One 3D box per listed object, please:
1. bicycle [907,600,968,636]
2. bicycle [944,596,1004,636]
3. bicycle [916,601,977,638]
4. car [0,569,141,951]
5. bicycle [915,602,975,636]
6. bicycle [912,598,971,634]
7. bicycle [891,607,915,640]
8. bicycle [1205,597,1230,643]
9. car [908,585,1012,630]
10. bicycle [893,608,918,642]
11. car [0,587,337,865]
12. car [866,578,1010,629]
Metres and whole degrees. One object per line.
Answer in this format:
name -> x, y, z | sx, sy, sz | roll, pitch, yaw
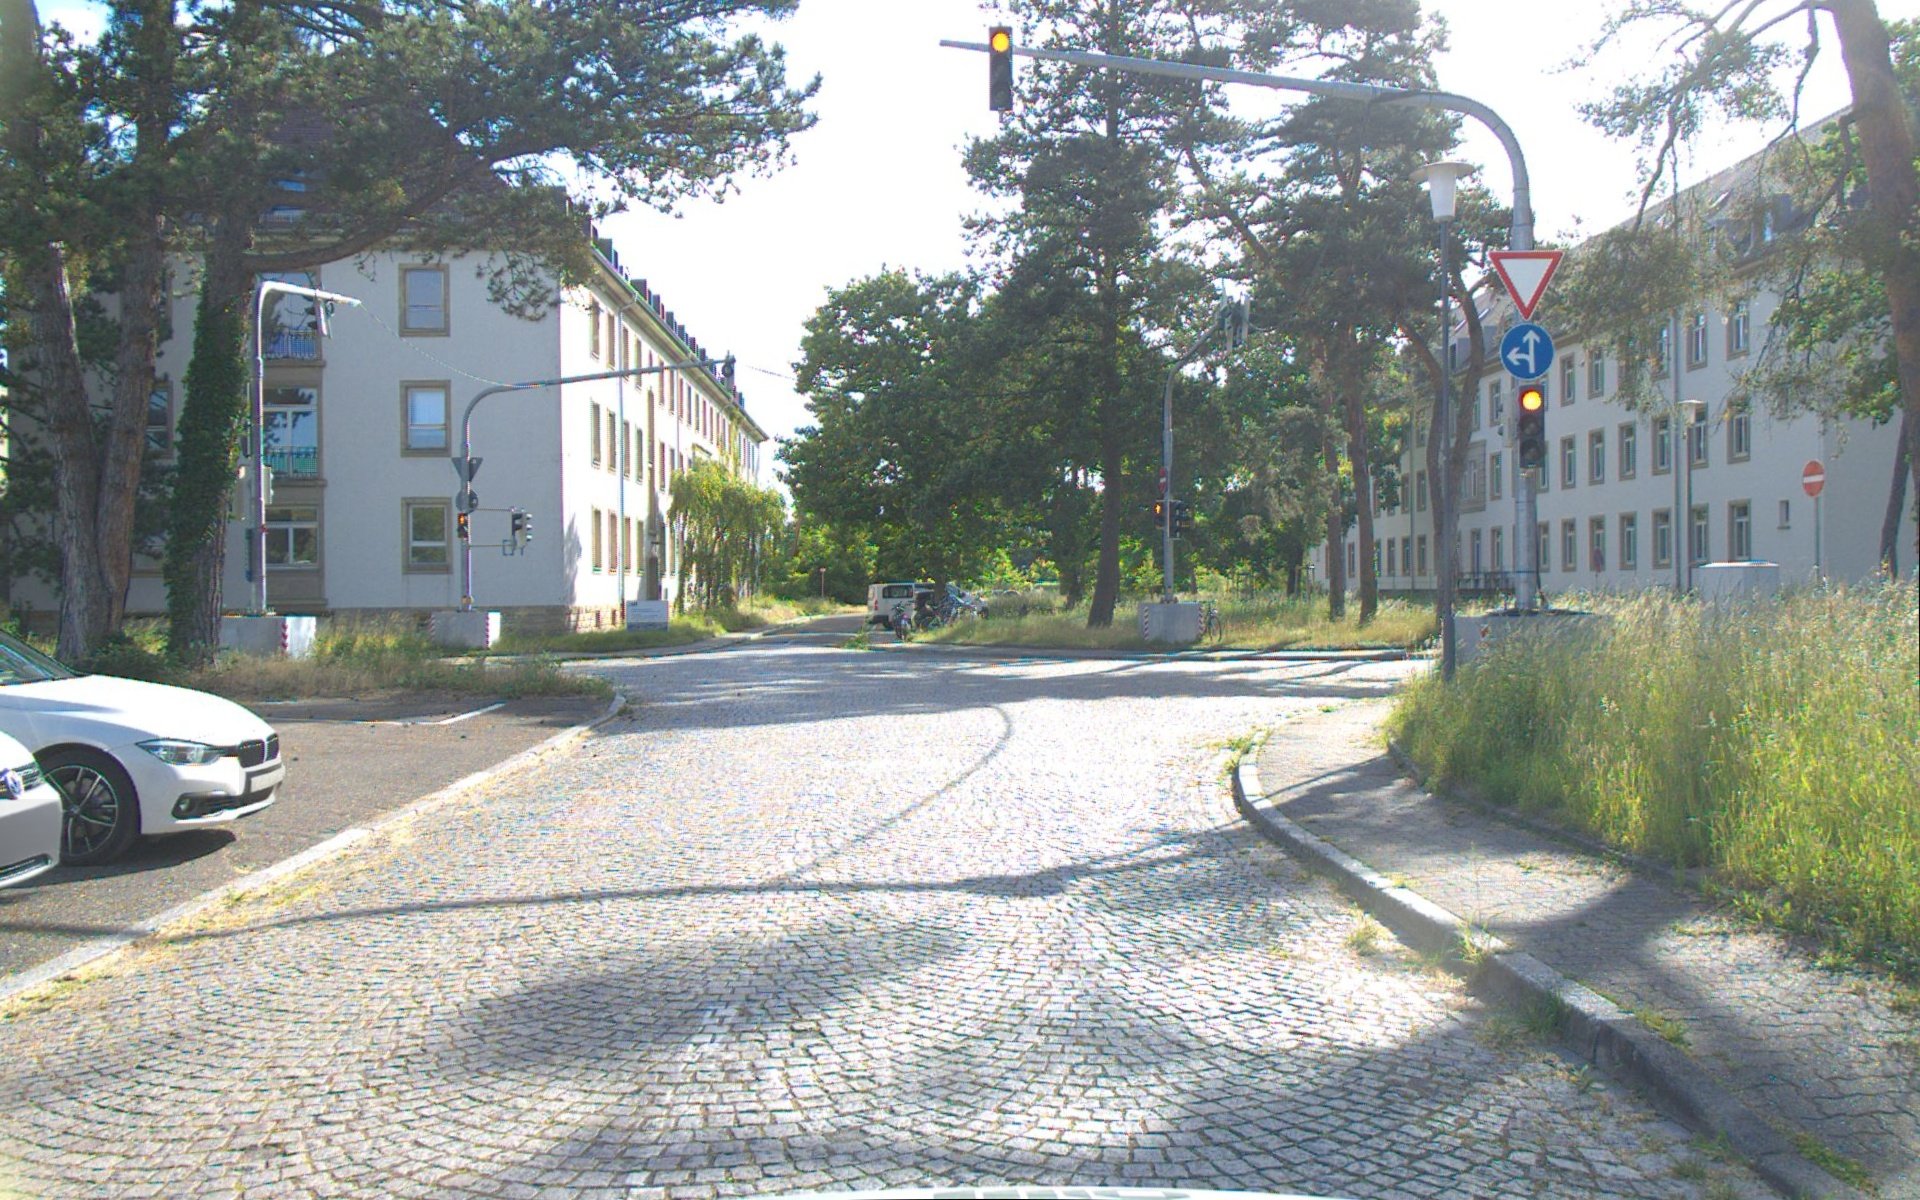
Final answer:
bicycle -> -0.739, 0.584, 54.051 | 1.919, 1.149, 0.641 | -1, 0, -29
bicycle -> 0.459, 0.507, 53.579 | 1.903, 1.257, 0.485 | -1, 0, -5
bicycle -> -0.440, 0.633, 52.845 | 1.903, 1.149, 0.749 | -1, 0, -5
car -> -6.121, 0.627, 7.522 | 3.868, 1.654, 1.720 | 2, 0, -6
bicycle -> -0.483, 0.592, 52.045 | 1.818, 1.049, 0.749 | -1, 0, -5
bicycle -> -0.613, 0.534, 55.166 | 1.904, 1.149, 0.647 | -1, 0, -7
bicycle -> -1.744, 0.709, 50.454 | 0.682, 0.988, 1.859 | 0, 0, -4
bicycle -> 6.250, 0.485, 40.143 | 0.456, 1.099, 1.174 | -1, 0, 2
car -> -0.014, 0.272, 65.819 | 3.914, 1.713, 1.843 | -1, 0, -10
bicycle -> -1.613, 0.724, 48.511 | 0.682, 0.988, 1.859 | 0, 0, -4
car -> -6.359, 0.667, 10.047 | 4.452, 1.493, 1.751 | 2, 0, -5
car -> -0.952, 0.144, 69.989 | 5.821, 2.049, 2.470 | -1, 0, -9
